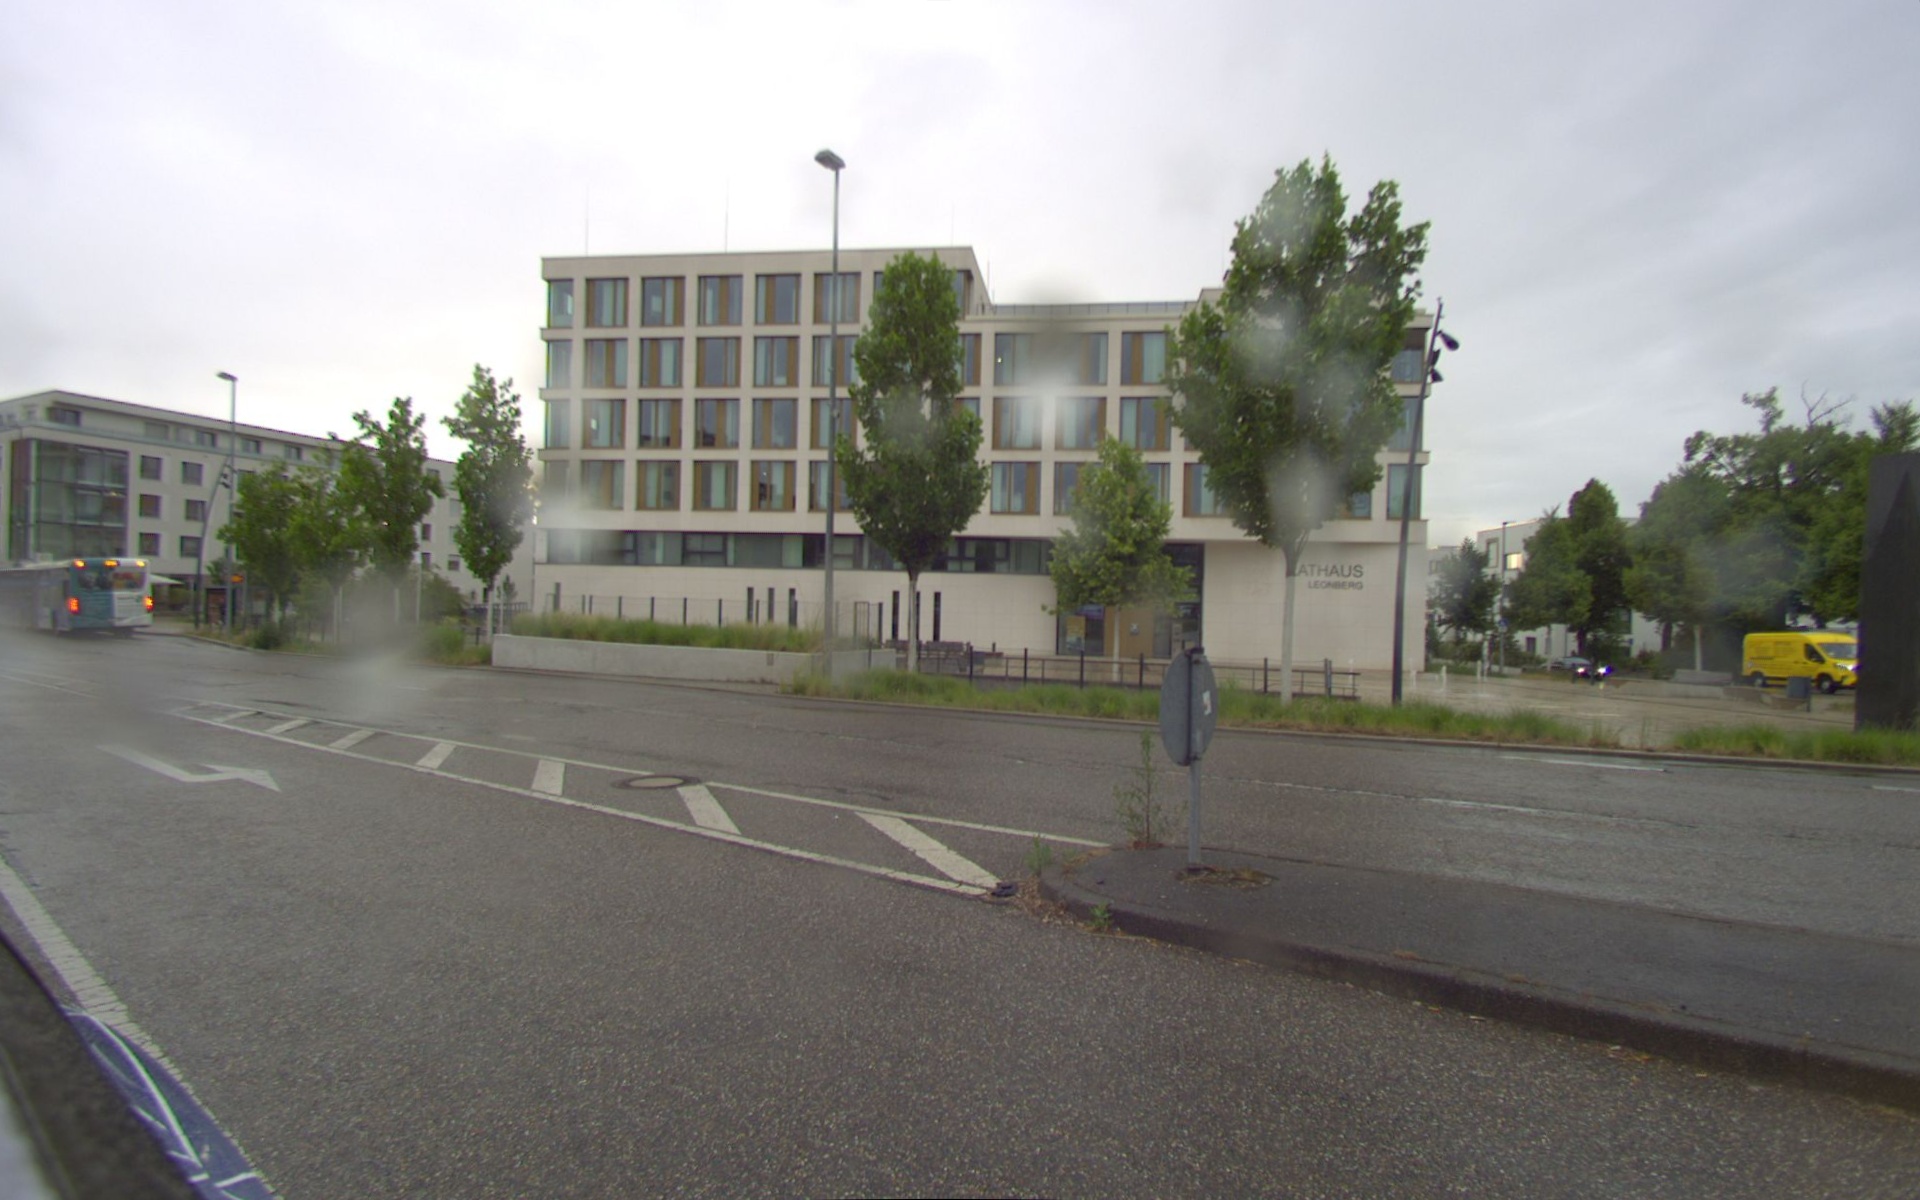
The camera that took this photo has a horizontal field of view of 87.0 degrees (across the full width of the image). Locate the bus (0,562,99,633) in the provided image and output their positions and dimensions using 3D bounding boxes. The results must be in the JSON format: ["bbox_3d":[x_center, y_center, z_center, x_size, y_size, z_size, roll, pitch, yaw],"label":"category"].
[{"bbox_3d":[-44.081,-0.046,48.089,8.866,3.138,2.767,0,-2,36],"label":"bus"}]

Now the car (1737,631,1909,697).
[{"bbox_3d":[34.623,2.537,40.914,1.973,2.428,5.912,1,-3,2],"label":"car"}]

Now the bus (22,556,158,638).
[{"bbox_3d":[-36.769,-0.037,42.613,9.359,3.138,2.749,-1,-2,39],"label":"bus"}]

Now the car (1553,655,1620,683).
[{"bbox_3d":[36.527,3.989,59.111,1.978,1.551,3.987,1,-3,10],"label":"car"}]
